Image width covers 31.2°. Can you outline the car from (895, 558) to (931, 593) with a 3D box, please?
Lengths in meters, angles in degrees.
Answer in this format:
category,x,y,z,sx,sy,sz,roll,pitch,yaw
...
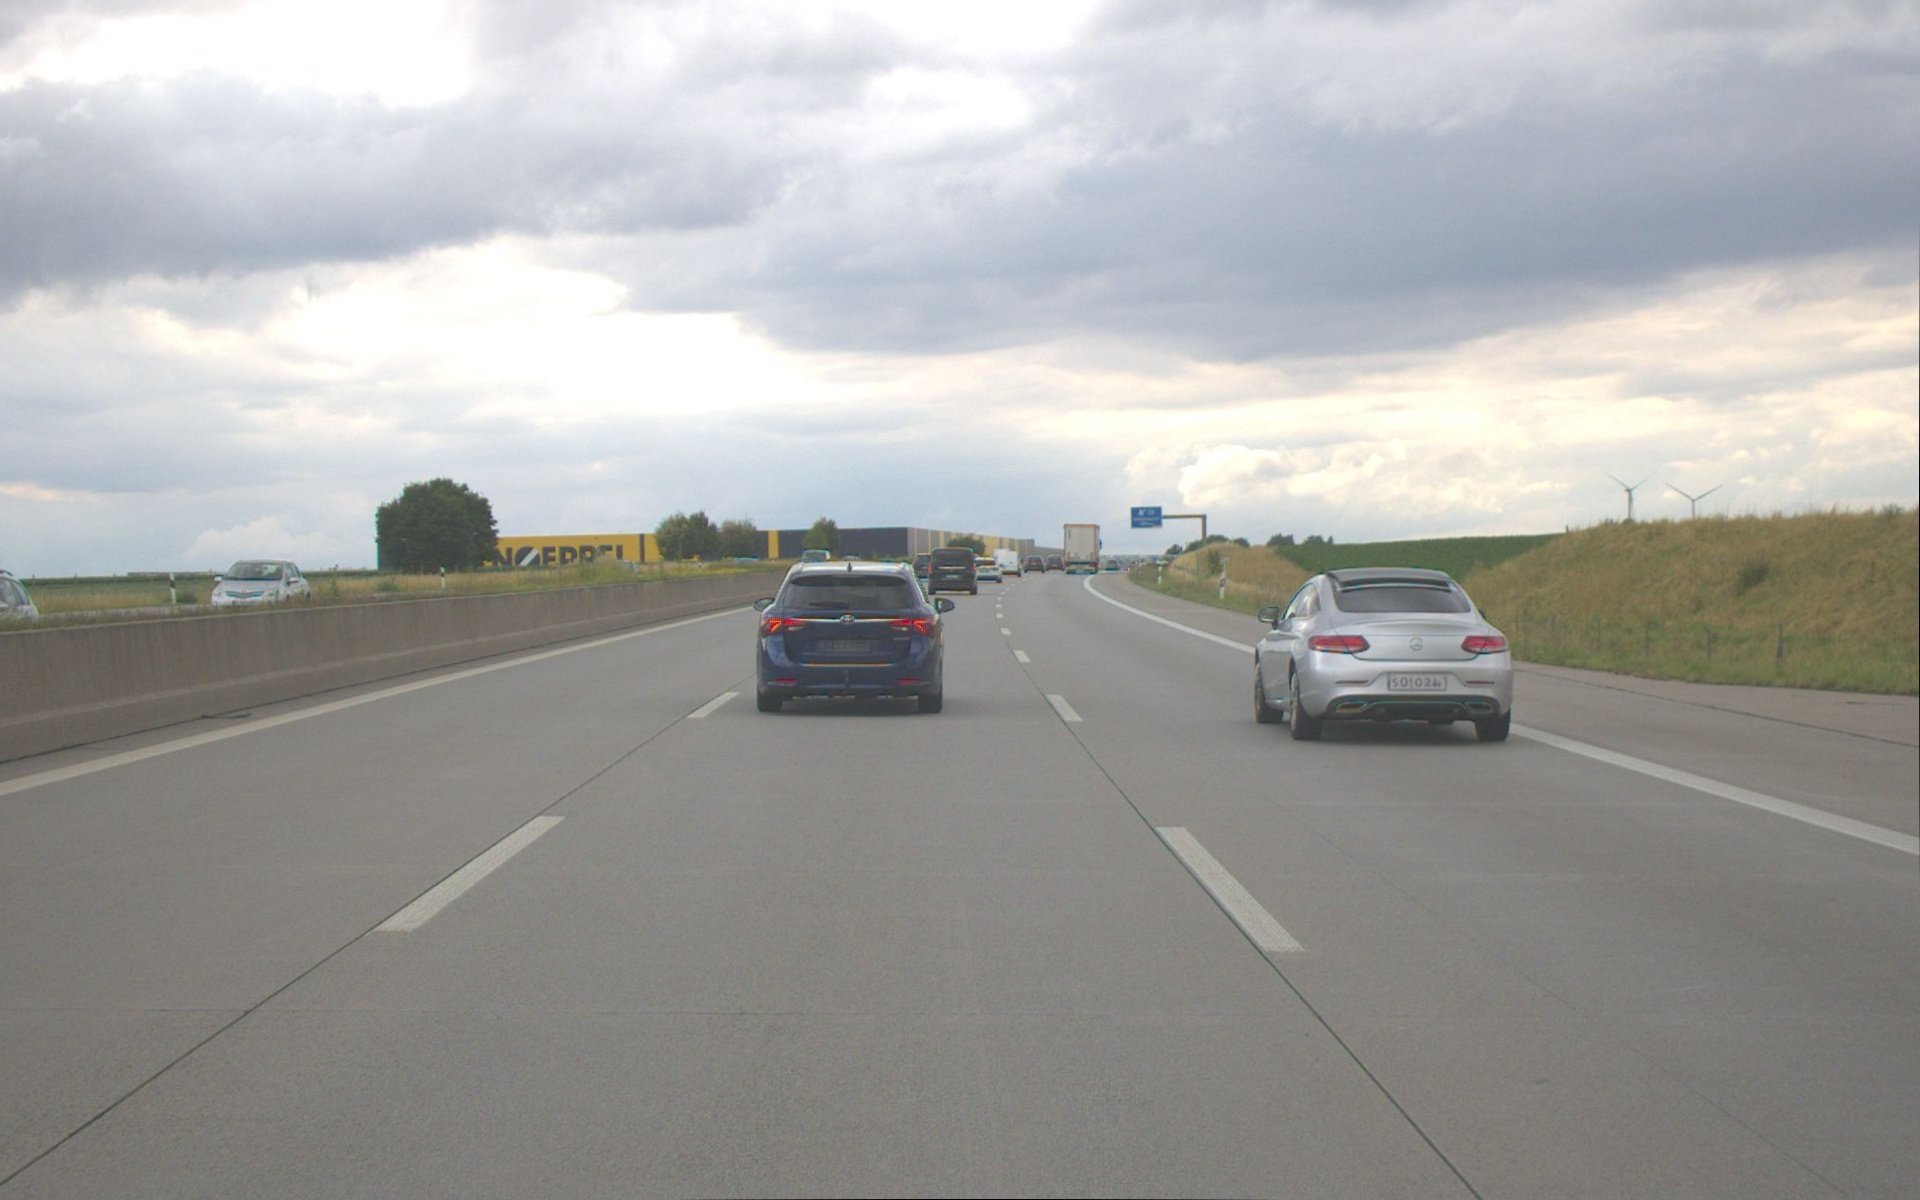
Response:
category,x,y,z,sx,sy,sz,roll,pitch,yaw
car,-2.706,-1.408,199.383,2.046,2.007,4.000,1,0,0

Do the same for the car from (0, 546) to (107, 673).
category,x,y,z,sx,sy,sz,roll,pitch,yaw
car,-12.402,0.102,43.985,1.724,1.532,5.039,1,0,0

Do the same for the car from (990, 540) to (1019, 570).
category,x,y,z,sx,sy,sz,roll,pitch,yaw
car,3.119,-3.152,241.127,1.993,2.007,4.000,1,0,0

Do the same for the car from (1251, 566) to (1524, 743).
category,x,y,z,sx,sy,sz,roll,pitch,yaw
car,3.577,0.419,29.430,1.788,1.399,4.221,0,0,0

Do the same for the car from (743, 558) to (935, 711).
category,x,y,z,sx,sy,sz,roll,pitch,yaw
car,-1.186,0.307,33.899,1.774,1.408,4.000,0,0,-2

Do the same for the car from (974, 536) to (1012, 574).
category,x,y,z,sx,sy,sz,roll,pitch,yaw
car,1.852,-2.498,191.475,1.993,2.007,4.000,1,1,1

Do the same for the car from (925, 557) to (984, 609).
category,x,y,z,sx,sy,sz,roll,pitch,yaw
car,-0.230,-0.661,135.977,1.993,2.007,4.001,1,0,-4

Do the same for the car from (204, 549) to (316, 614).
category,x,y,z,sx,sy,sz,roll,pitch,yaw
car,-16.910,-0.431,83.210,1.778,1.502,4.517,1,0,0
